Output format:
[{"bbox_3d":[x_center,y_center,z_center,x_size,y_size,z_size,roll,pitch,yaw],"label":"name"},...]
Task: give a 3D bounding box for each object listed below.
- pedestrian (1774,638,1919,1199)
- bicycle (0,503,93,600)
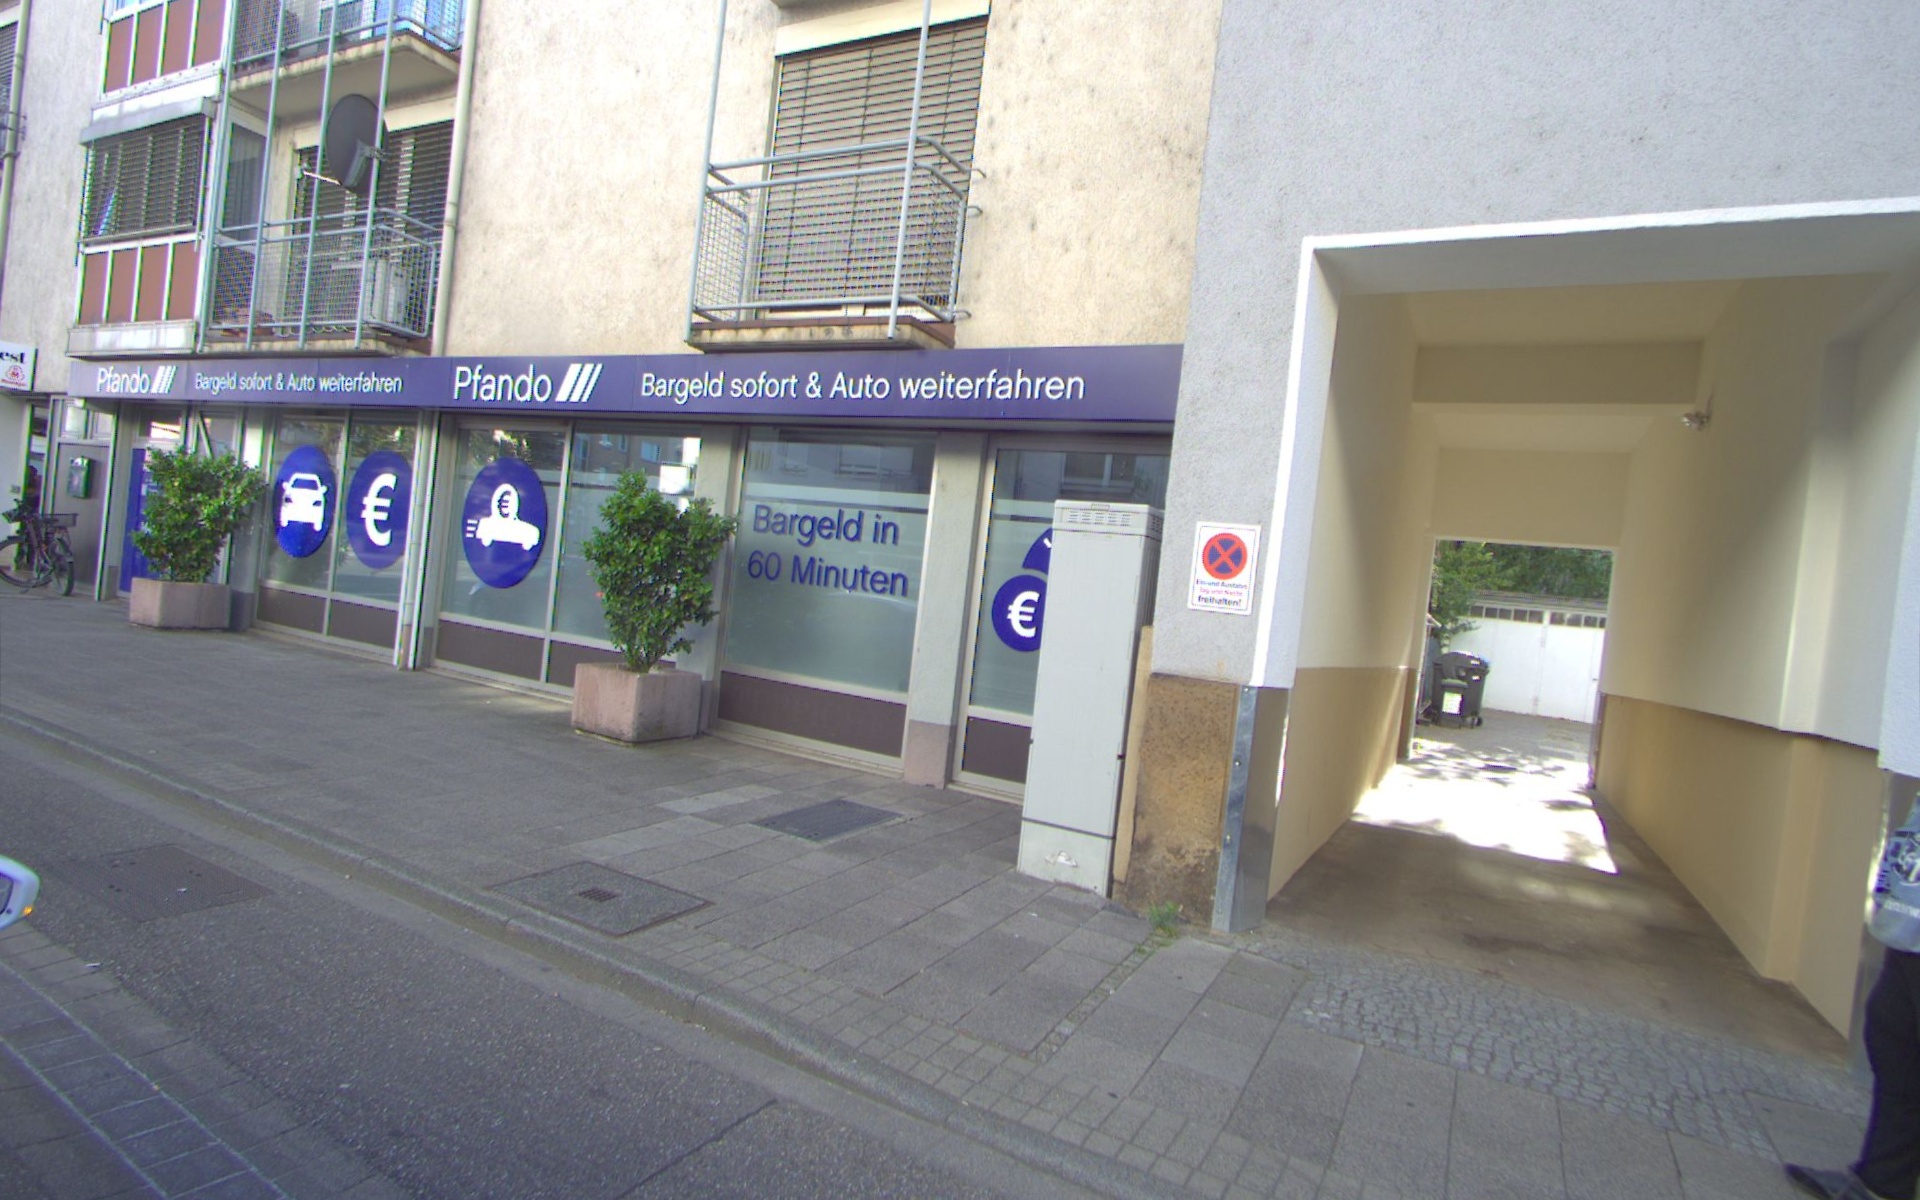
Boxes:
[{"bbox_3d":[2.707,0.919,2.437,0.854,1.555,0.825,7,3,30],"label":"pedestrian"},{"bbox_3d":[-11.895,-0.643,12.887,1.779,1.086,0.531,7,1,28],"label":"bicycle"}]
